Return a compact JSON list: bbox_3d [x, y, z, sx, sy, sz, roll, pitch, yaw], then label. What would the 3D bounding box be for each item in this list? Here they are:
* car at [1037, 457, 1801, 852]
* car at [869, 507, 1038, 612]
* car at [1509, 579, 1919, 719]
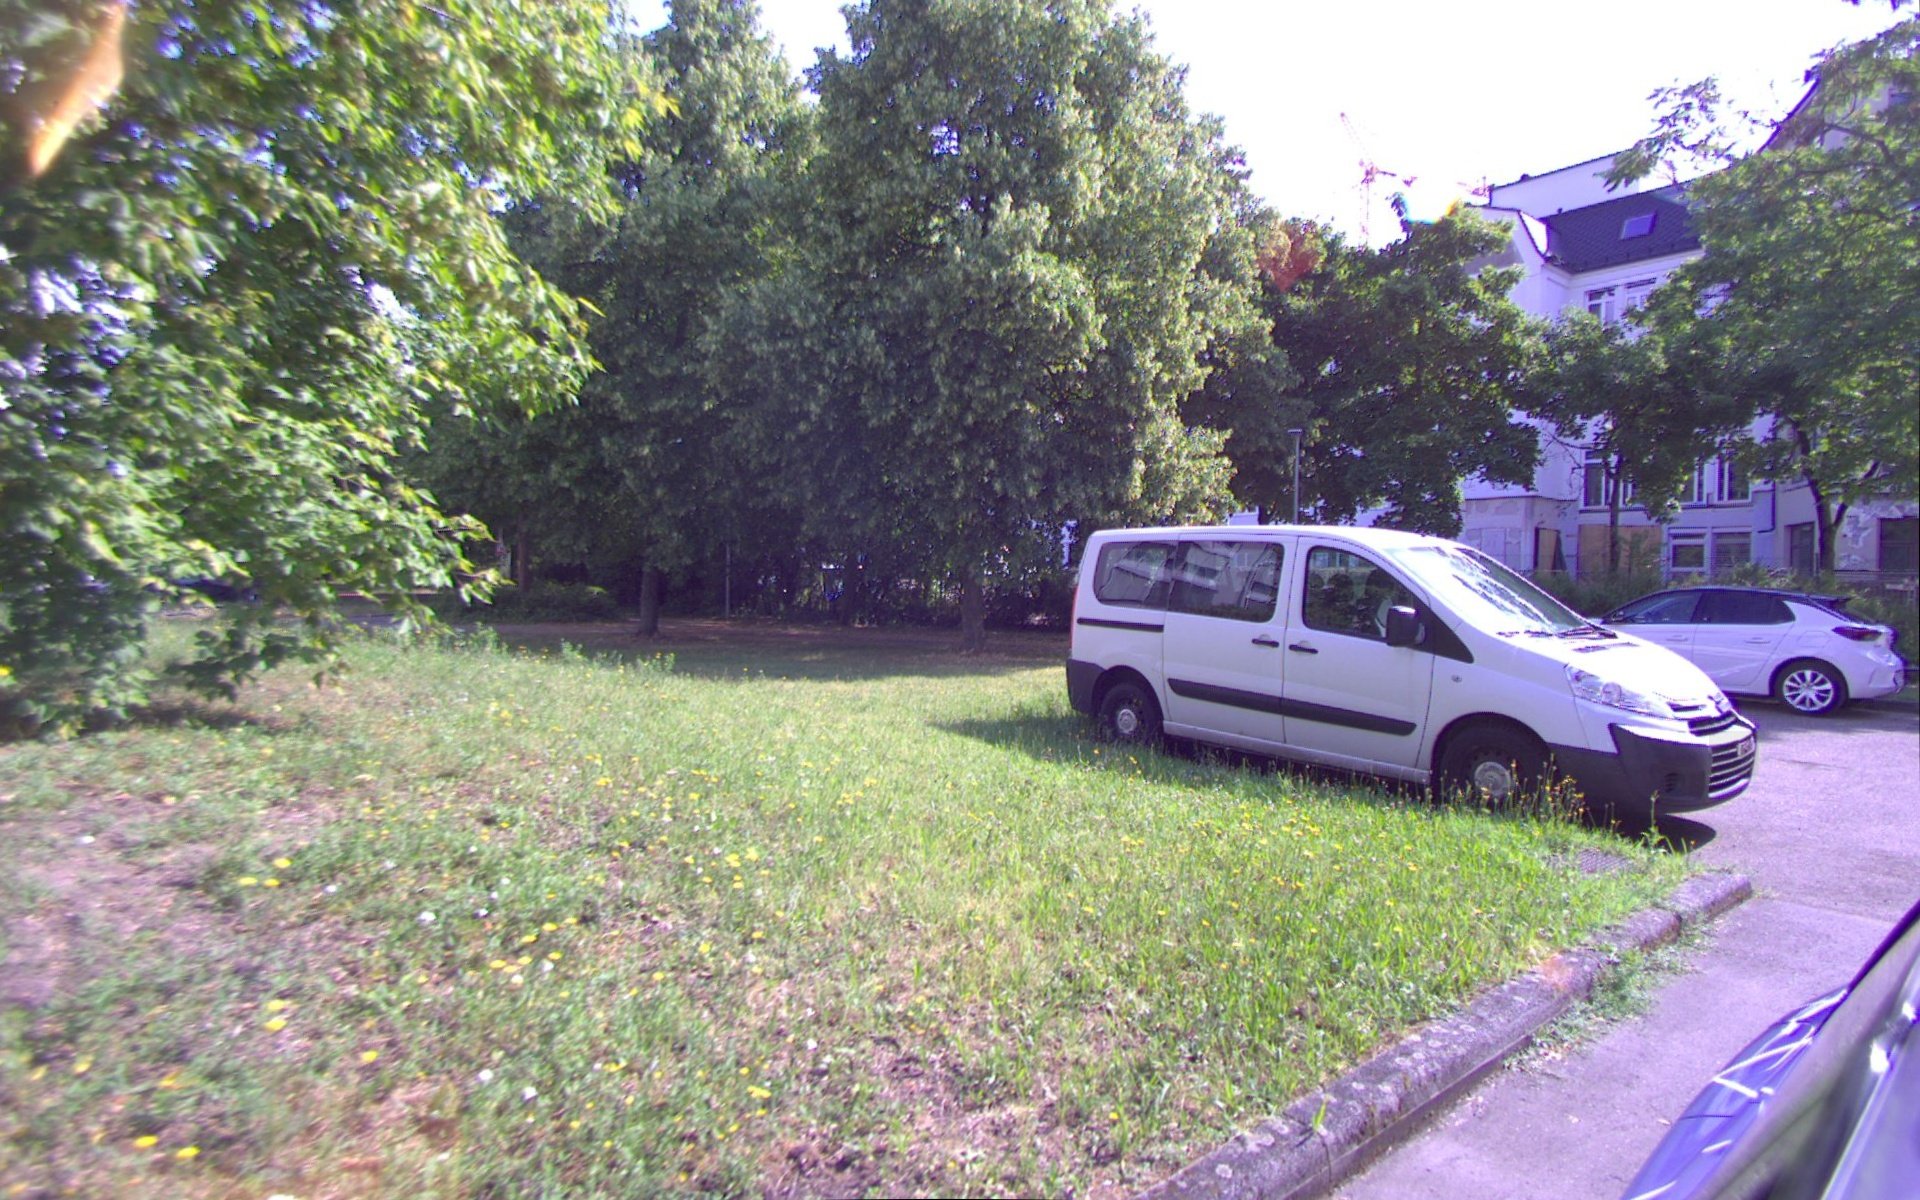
[{"bbox_3d":[2.964,0.263,7.673,1.963,1.989,4.953,1,0,-37],"label":"car"},{"bbox_3d":[-0.021,-1.163,33.199,1.987,3.086,6.887,0,-1,34],"label":"car"},{"bbox_3d":[9.277,0.473,12.634,1.727,1.437,3.914,-1,2,-38],"label":"car"}]
